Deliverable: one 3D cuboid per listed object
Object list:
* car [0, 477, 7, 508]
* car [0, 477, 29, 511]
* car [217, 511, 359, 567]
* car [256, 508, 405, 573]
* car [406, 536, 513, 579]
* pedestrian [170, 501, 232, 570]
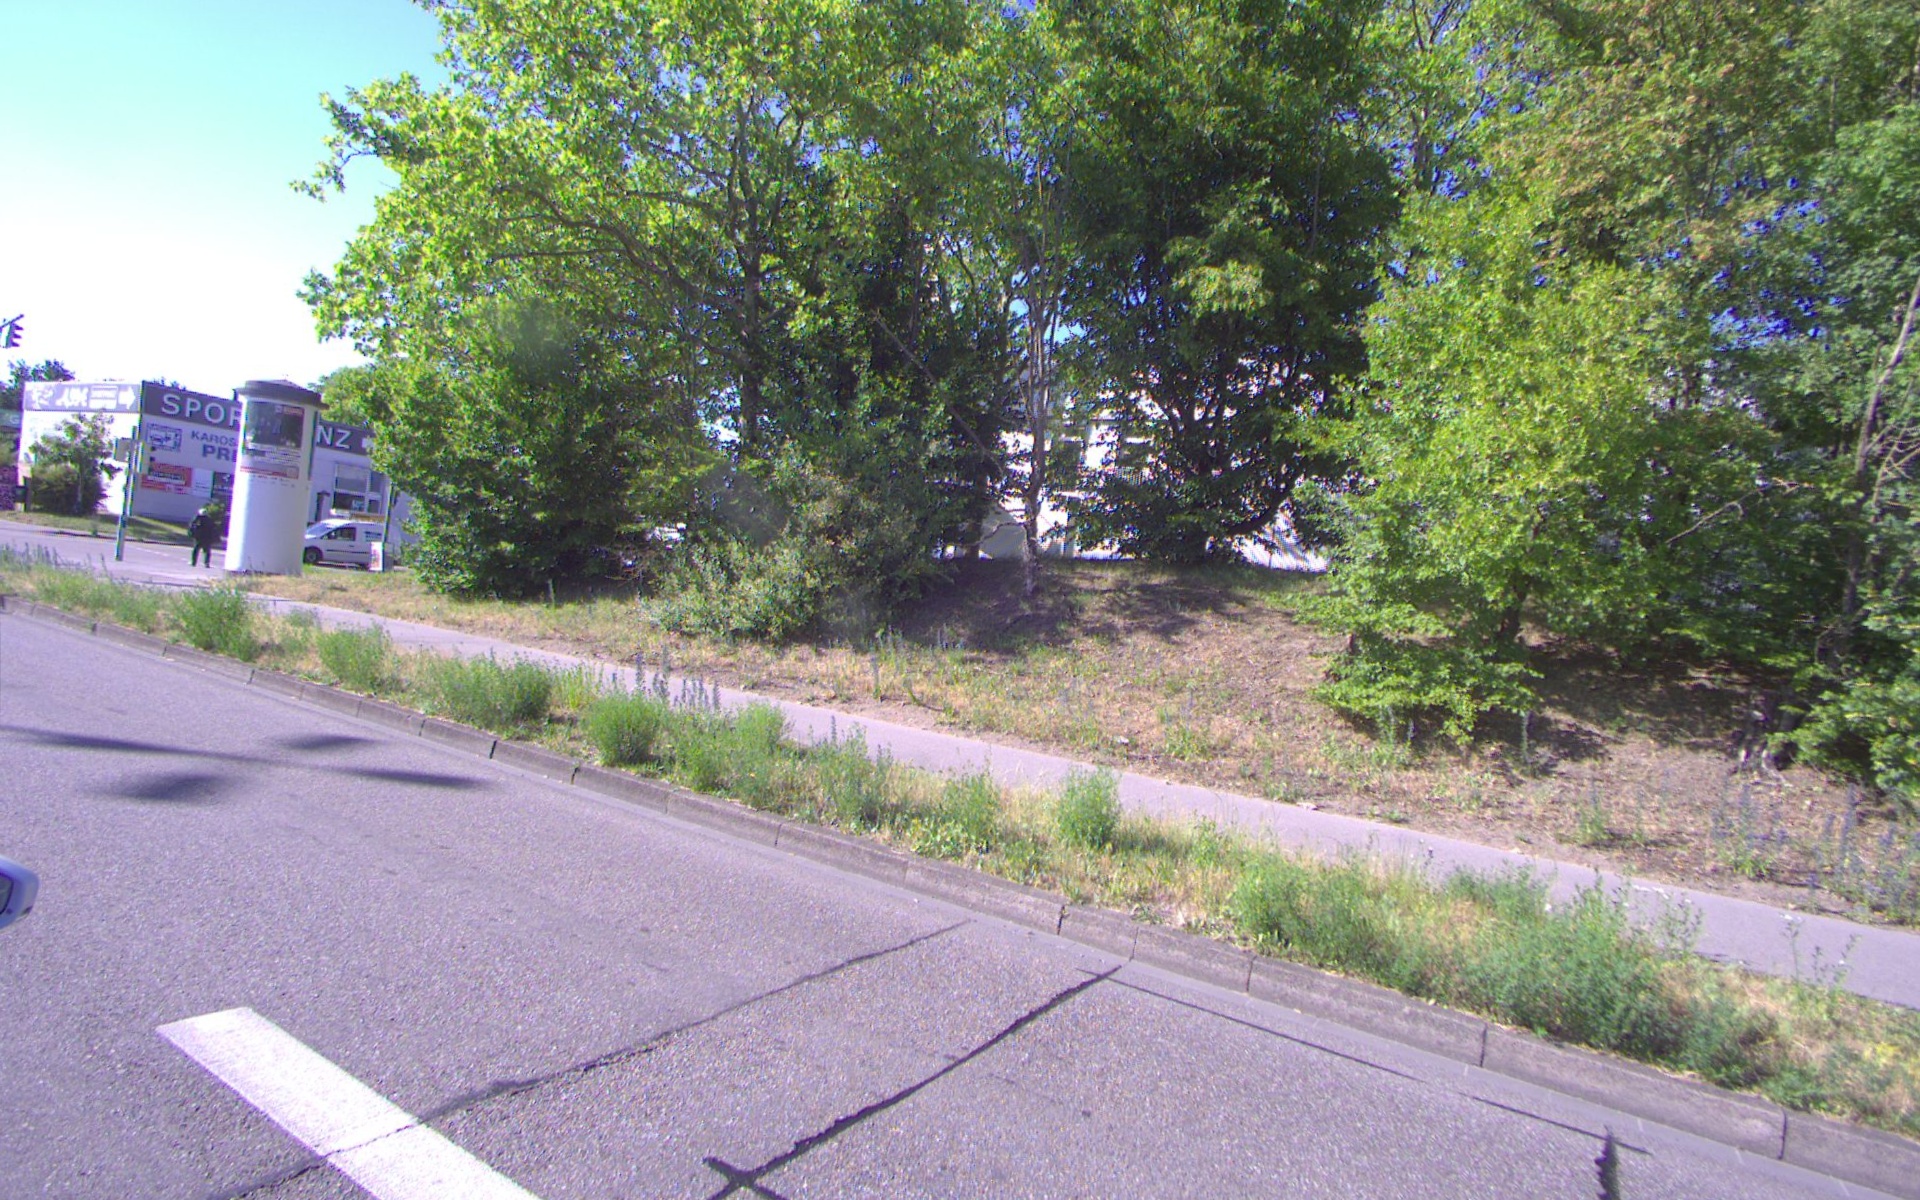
[{"bbox_3d":[-49.246,-5.495,48.471,1.828,1.472,4.490,7,1,33],"label":"car"},{"bbox_3d":[-46.895,-5.228,47.102,1.828,1.472,4.490,7,1,33],"label":"car"},{"bbox_3d":[-26.627,-2.381,40.021,1.735,1.568,4.292,9,1,30],"label":"car"},{"bbox_3d":[-23.851,-2.205,38.273,1.735,1.824,4.387,9,1,30],"label":"car"},{"bbox_3d":[-23.002,-1.944,46.343,1.752,1.509,4.046,7,1,30],"label":"car"},{"bbox_3d":[-21.262,-1.810,28.187,0.923,1.755,0.927,6,-1,31],"label":"pedestrian"}]
